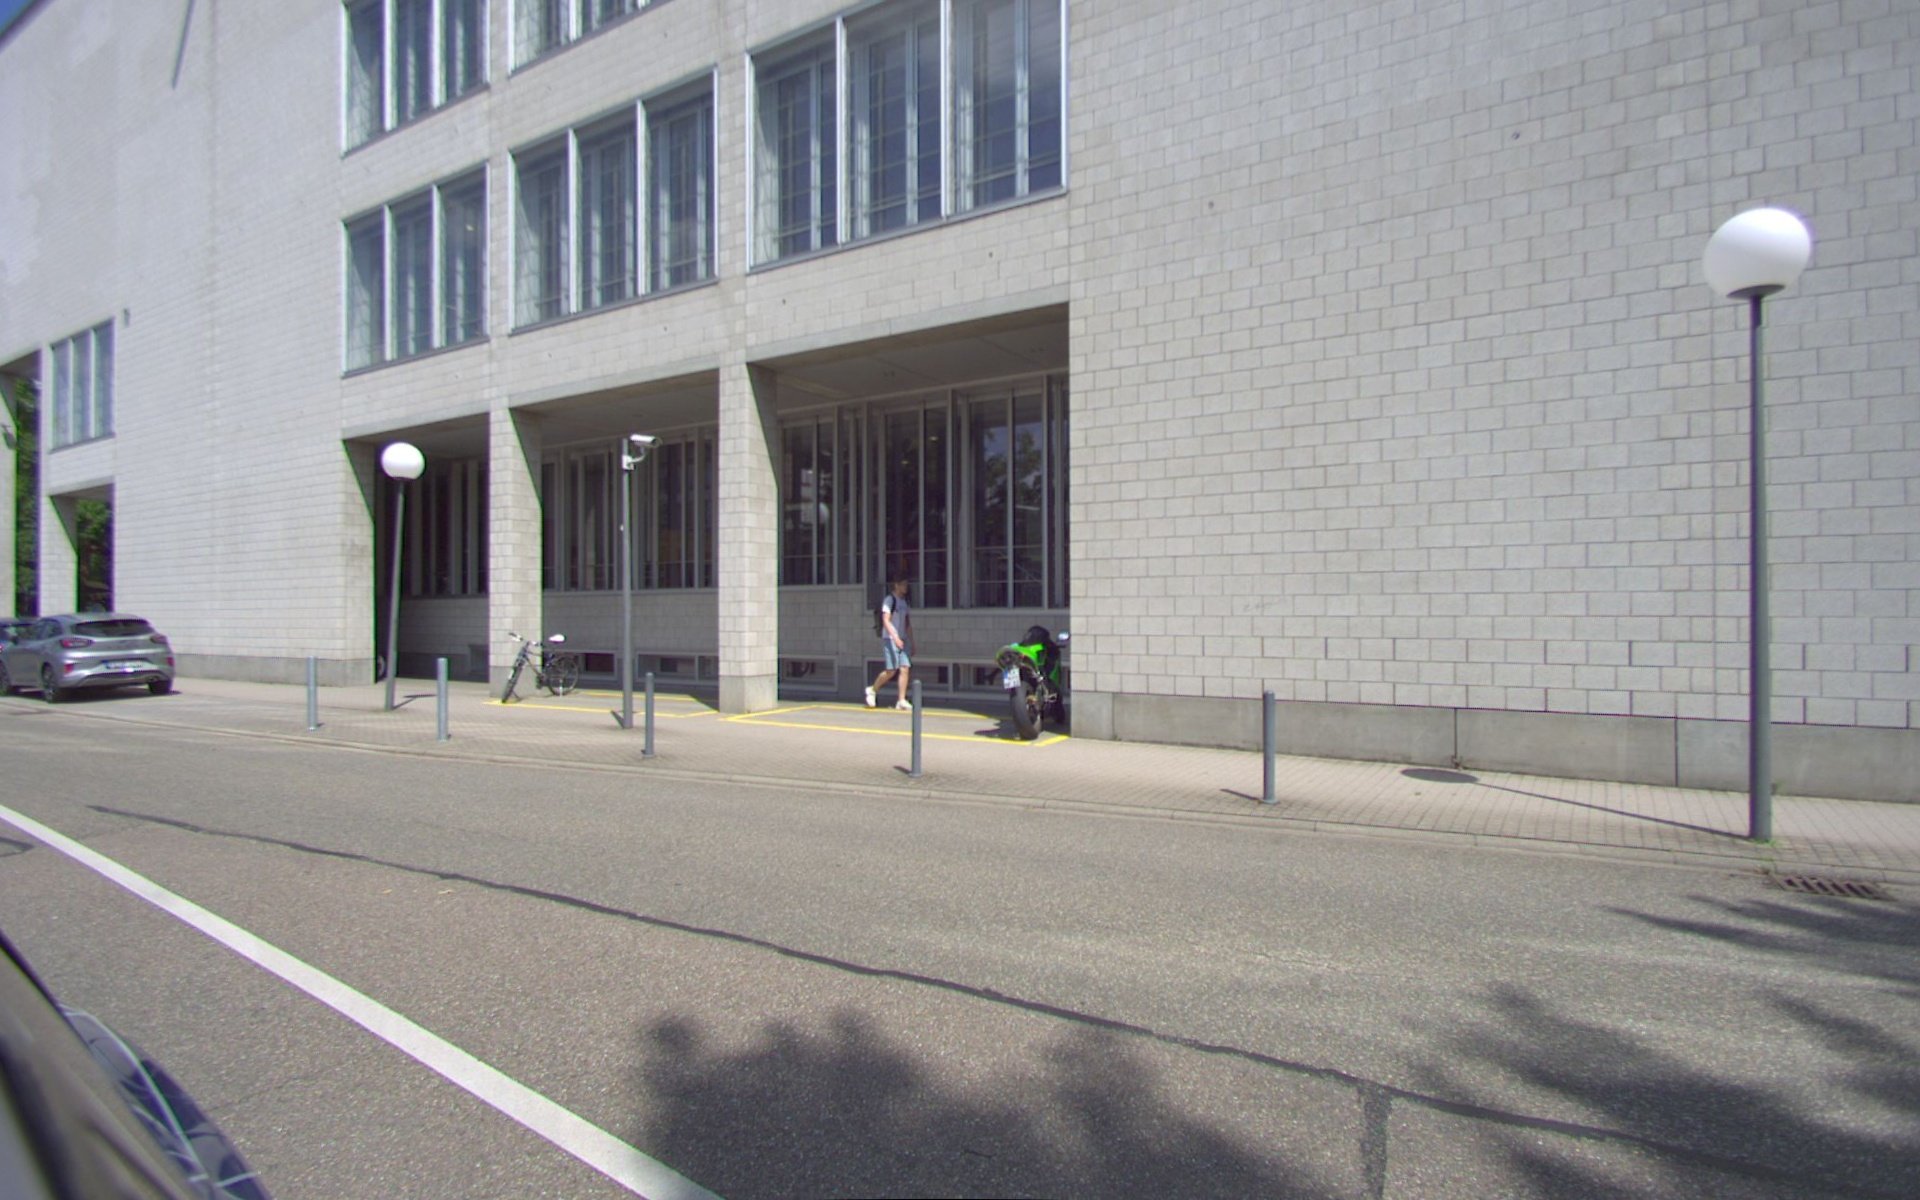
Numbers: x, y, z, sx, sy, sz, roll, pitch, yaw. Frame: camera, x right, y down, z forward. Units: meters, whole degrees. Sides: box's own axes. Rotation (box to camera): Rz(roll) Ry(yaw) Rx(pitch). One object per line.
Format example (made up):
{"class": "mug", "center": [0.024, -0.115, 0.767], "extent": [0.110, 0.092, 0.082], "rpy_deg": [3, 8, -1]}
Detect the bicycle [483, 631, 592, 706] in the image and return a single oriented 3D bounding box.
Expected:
{"class": "bicycle", "center": [-6.832, 1.081, 16.452], "extent": [0.605, 1.095, 1.629], "rpy_deg": [-1, 0, 27]}

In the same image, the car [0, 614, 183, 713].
{"class": "car", "center": [-16.404, 1.093, 18.804], "extent": [4.392, 1.546, 1.713], "rpy_deg": [0, 2, 33]}

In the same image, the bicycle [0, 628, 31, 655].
{"class": "bicycle", "center": [-39.739, 1.739, 42.454], "extent": [2.117, 1.066, 0.616], "rpy_deg": [-1, 0, 32]}

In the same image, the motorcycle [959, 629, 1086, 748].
{"class": "motorcycle", "center": [0.746, 0.918, 11.223], "extent": [0.770, 1.146, 2.156], "rpy_deg": [-1, -1, 22]}

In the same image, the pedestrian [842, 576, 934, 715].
{"class": "pedestrian", "center": [-1.001, 0.609, 14.125], "extent": [1.010, 1.852, 0.771], "rpy_deg": [-1, 0, 32]}

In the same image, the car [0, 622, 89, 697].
{"class": "car", "center": [-20.496, 1.218, 21.551], "extent": [4.650, 1.433, 1.713], "rpy_deg": [-1, 0, 33]}
